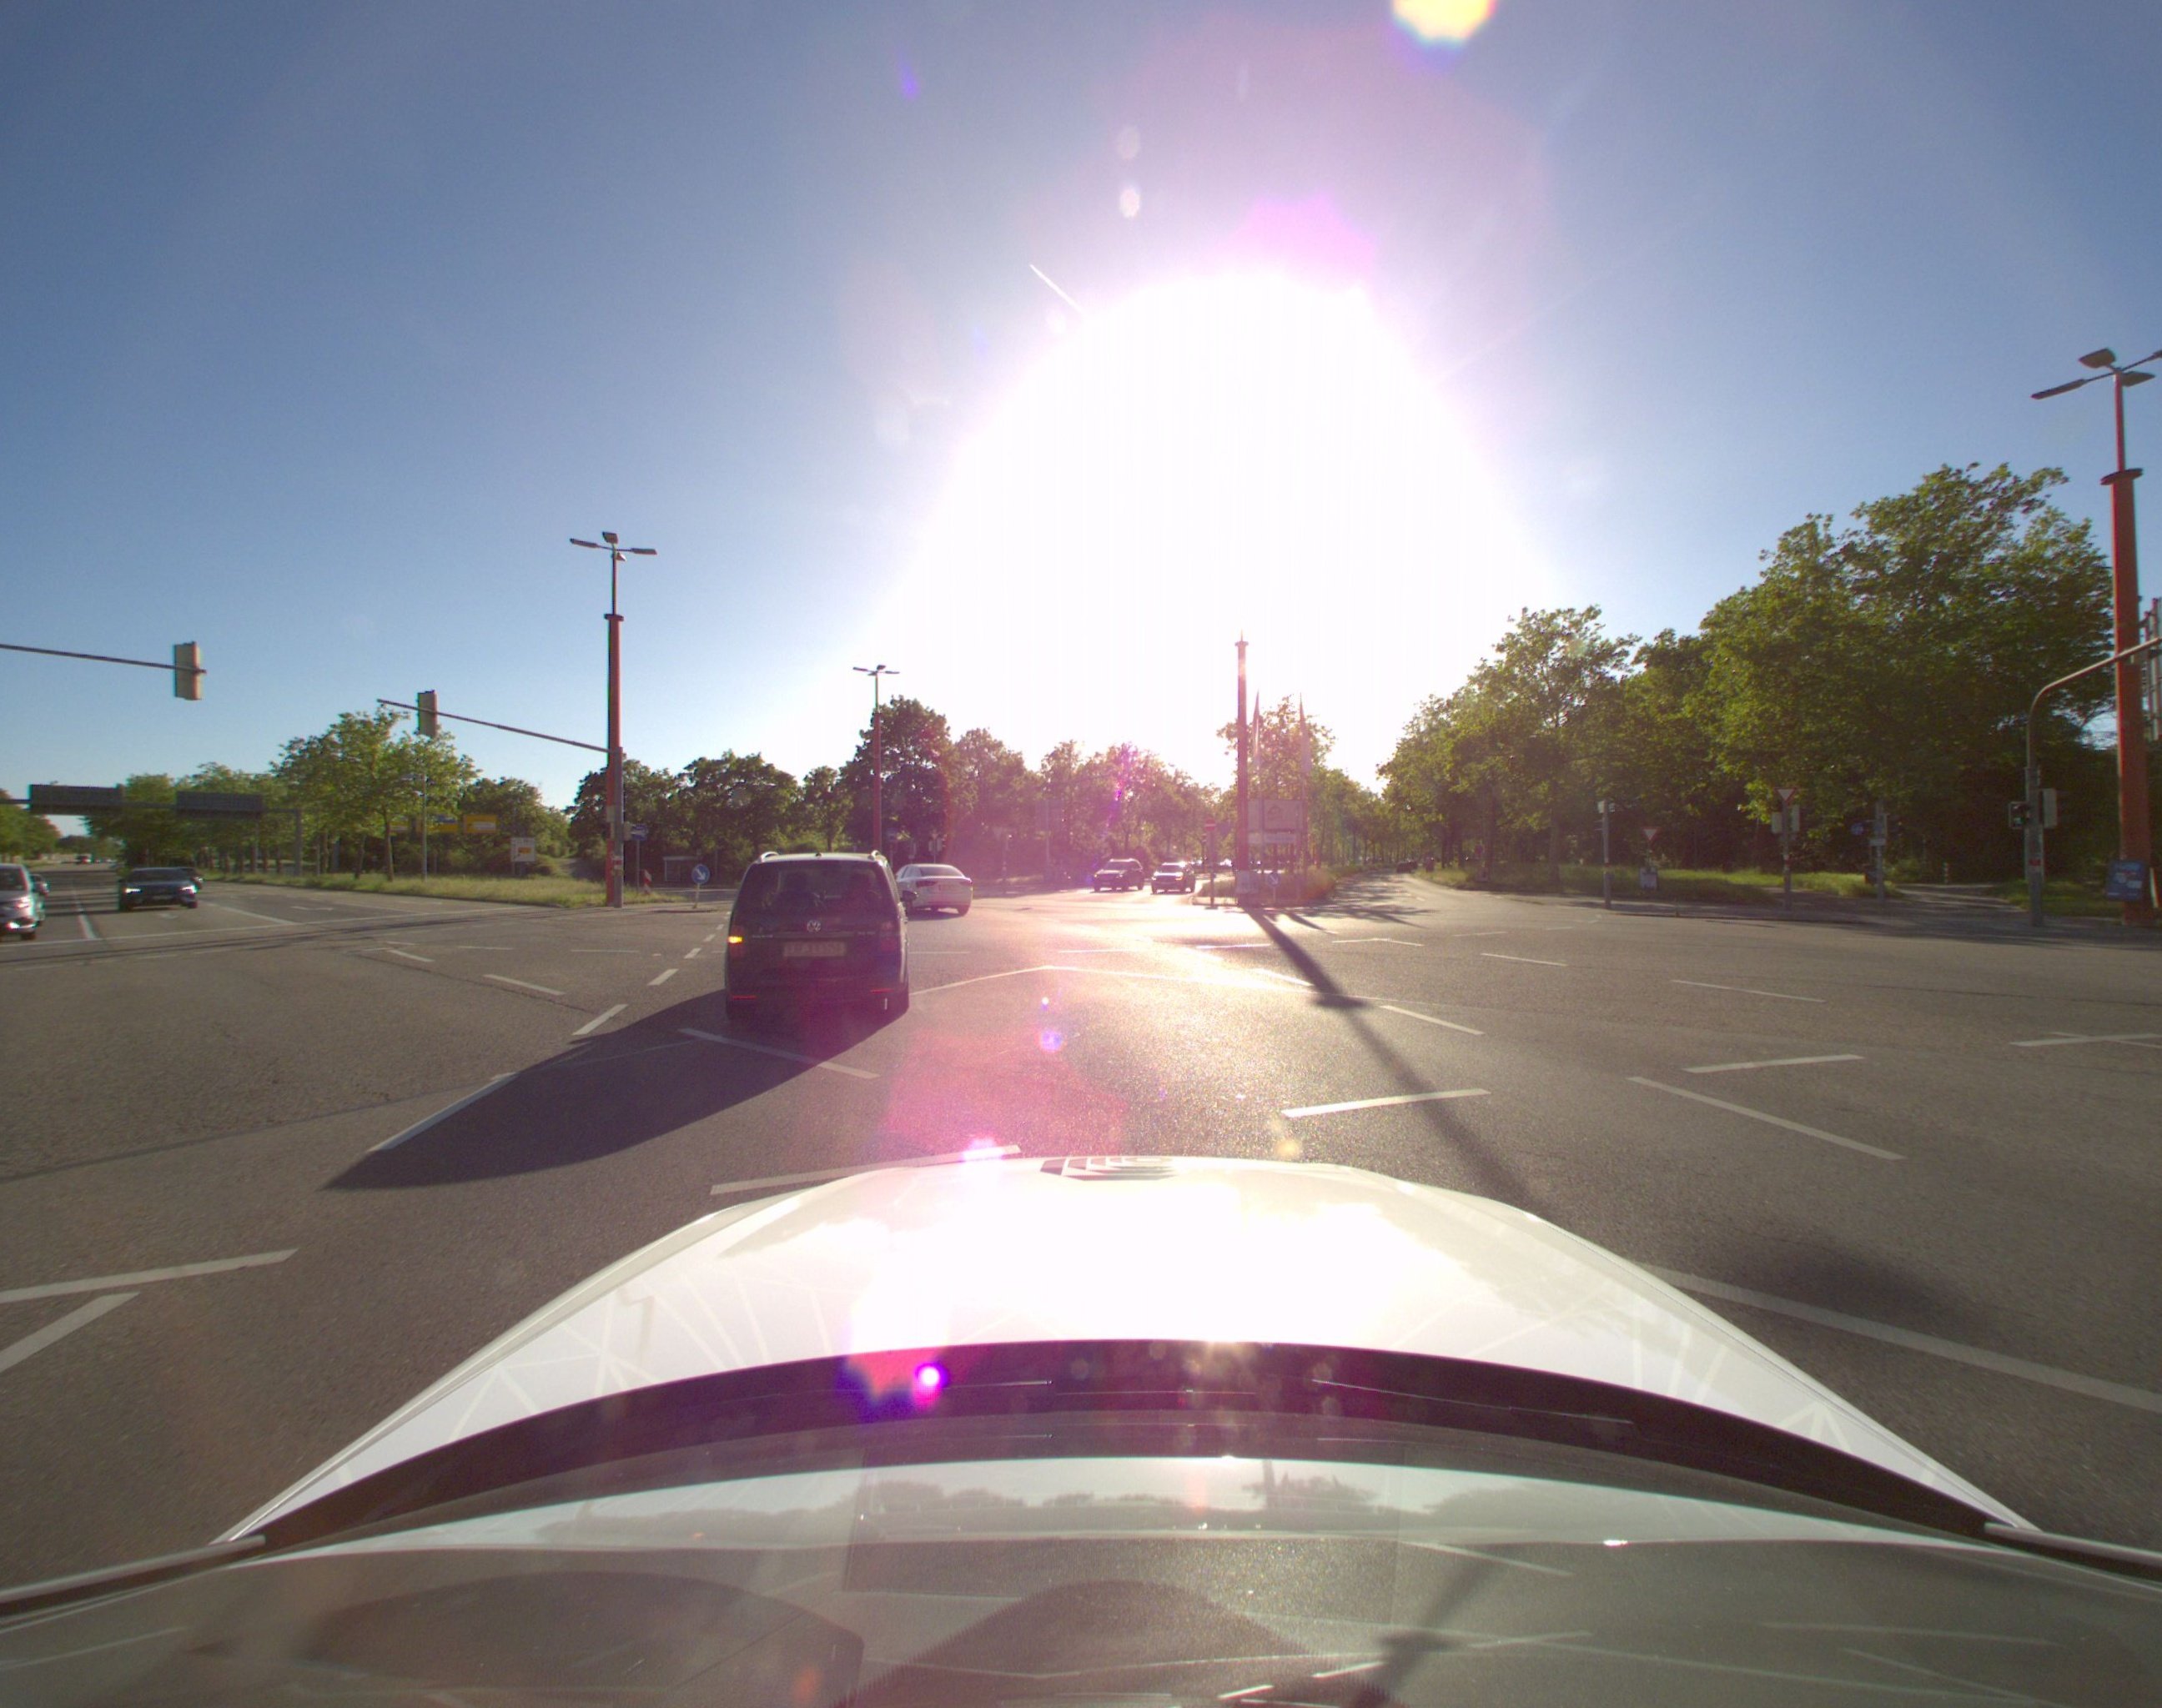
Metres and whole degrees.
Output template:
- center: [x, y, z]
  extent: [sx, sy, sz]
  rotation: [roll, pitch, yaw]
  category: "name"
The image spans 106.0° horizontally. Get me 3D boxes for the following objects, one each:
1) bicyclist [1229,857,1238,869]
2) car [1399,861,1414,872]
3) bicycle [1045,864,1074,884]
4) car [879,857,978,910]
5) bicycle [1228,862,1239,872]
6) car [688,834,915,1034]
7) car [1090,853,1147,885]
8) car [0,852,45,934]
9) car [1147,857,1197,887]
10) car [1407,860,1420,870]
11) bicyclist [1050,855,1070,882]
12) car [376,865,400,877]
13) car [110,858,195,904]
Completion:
- center: [17.982, 1.027, 96.041]
  extent: [0.728, 1.436, 0.971]
  rotation: [-1, -1, 25]
  category: "bicyclist"
- center: [42.752, 1.648, 106.943]
  extent: [1.774, 1.388, 4.070]
  rotation: [1, 0, 21]
  category: "car"
- center: [-1.258, 1.155, 47.879]
  extent: [0.756, 1.091, 2.027]
  rotation: [-1, 0, 28]
  category: "bicycle"
- center: [-4.693, 0.818, 24.575]
  extent: [1.777, 1.464, 4.326]
  rotation: [0, 0, -28]
  category: "car"
- center: [17.942, 1.509, 95.934]
  extent: [0.728, 1.091, 2.026]
  rotation: [-1, -1, 25]
  category: "bicycle"
- center: [-2.830, 0.671, 9.297]
  extent: [1.768, 1.644, 4.904]
  rotation: [0, 0, -11]
  category: "car"
- center: [2.235, 0.850, 46.871]
  extent: [1.886, 1.726, 4.677]
  rotation: [0, 0, 21]
  category: "car"
- center: [-25.469, 0.885, 18.768]
  extent: [4.389, 1.775, 1.917]
  rotation: [-1, 1, 38]
  category: "car"
- center: [4.964, 0.925, 43.861]
  extent: [1.753, 1.538, 4.111]
  rotation: [0, 0, 20]
  category: "car"
- center: [55.932, 1.850, 136.858]
  extent: [1.856, 1.627, 4.022]
  rotation: [1, -1, 24]
  category: "car"
- center: [-1.220, 0.859, 47.951]
  extent: [0.752, 1.557, 0.987]
  rotation: [-1, 0, 28]
  category: "bicyclist"
- center: [-92.787, 2.265, 108.984]
  extent: [4.310, 1.464, 1.784]
  rotation: [0, -1, 40]
  category: "car"
- center: [-36.607, 1.021, 32.078]
  extent: [4.506, 1.610, 1.917]
  rotation: [-1, 1, 38]
  category: "car"
